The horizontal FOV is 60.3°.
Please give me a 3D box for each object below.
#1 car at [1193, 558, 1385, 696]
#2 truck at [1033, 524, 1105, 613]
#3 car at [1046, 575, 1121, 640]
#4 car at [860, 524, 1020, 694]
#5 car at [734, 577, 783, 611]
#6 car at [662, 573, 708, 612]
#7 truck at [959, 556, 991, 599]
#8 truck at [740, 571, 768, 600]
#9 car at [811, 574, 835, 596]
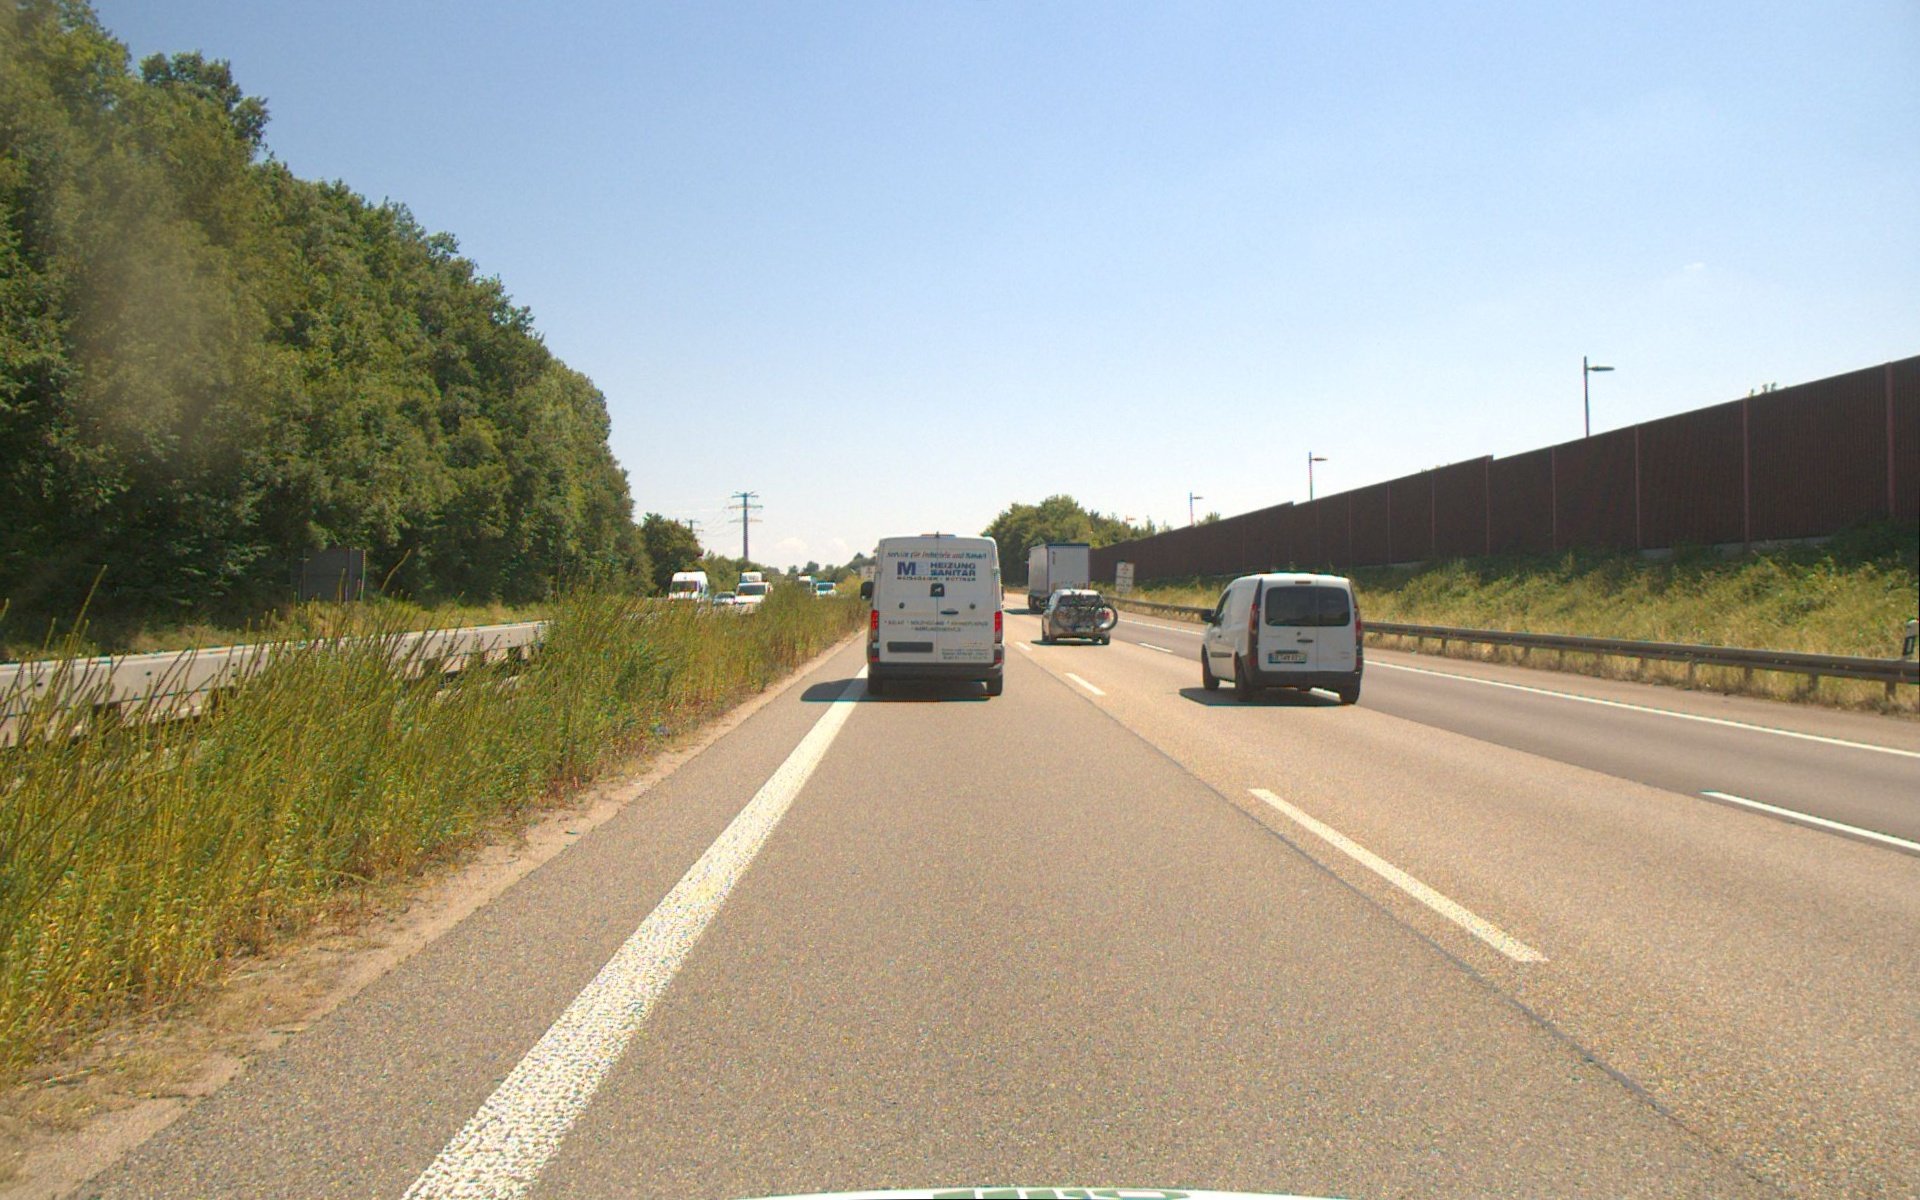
[{"bbox_3d":[4.808,0.384,24.775,1.911,1.870,4.176,-1,-1,-2],"label":"car"},{"bbox_3d":[6.590,-1.766,101.969,3.710,5.087,12.519,1,-1,1],"label":"truck"},{"bbox_3d":[3.514,0.225,47.695,1.935,1.763,4.089,-1,0,1],"label":"car"},{"bbox_3d":[-0.438,0.141,25.414,2.139,2.293,5.359,1,0,-4],"label":"car"},{"bbox_3d":[-10.215,-0.304,84.140,1.953,1.615,4.425,-2,0,-1],"label":"car"},{"bbox_3d":[-17.604,-0.460,106.102,2.081,2.380,5.084,-2,0,-1],"label":"car"},{"bbox_3d":[1.890,-2.707,205.707,3.710,5.087,12.519,1,-1,1],"label":"truck"},{"bbox_3d":[-20.685,-1.396,166.482,1.952,2.789,5.858,1,-1,1],"label":"truck"},{"bbox_3d":[-12.599,-1.379,152.514,1.953,2.049,3.998,-1,0,-2],"label":"car"}]
